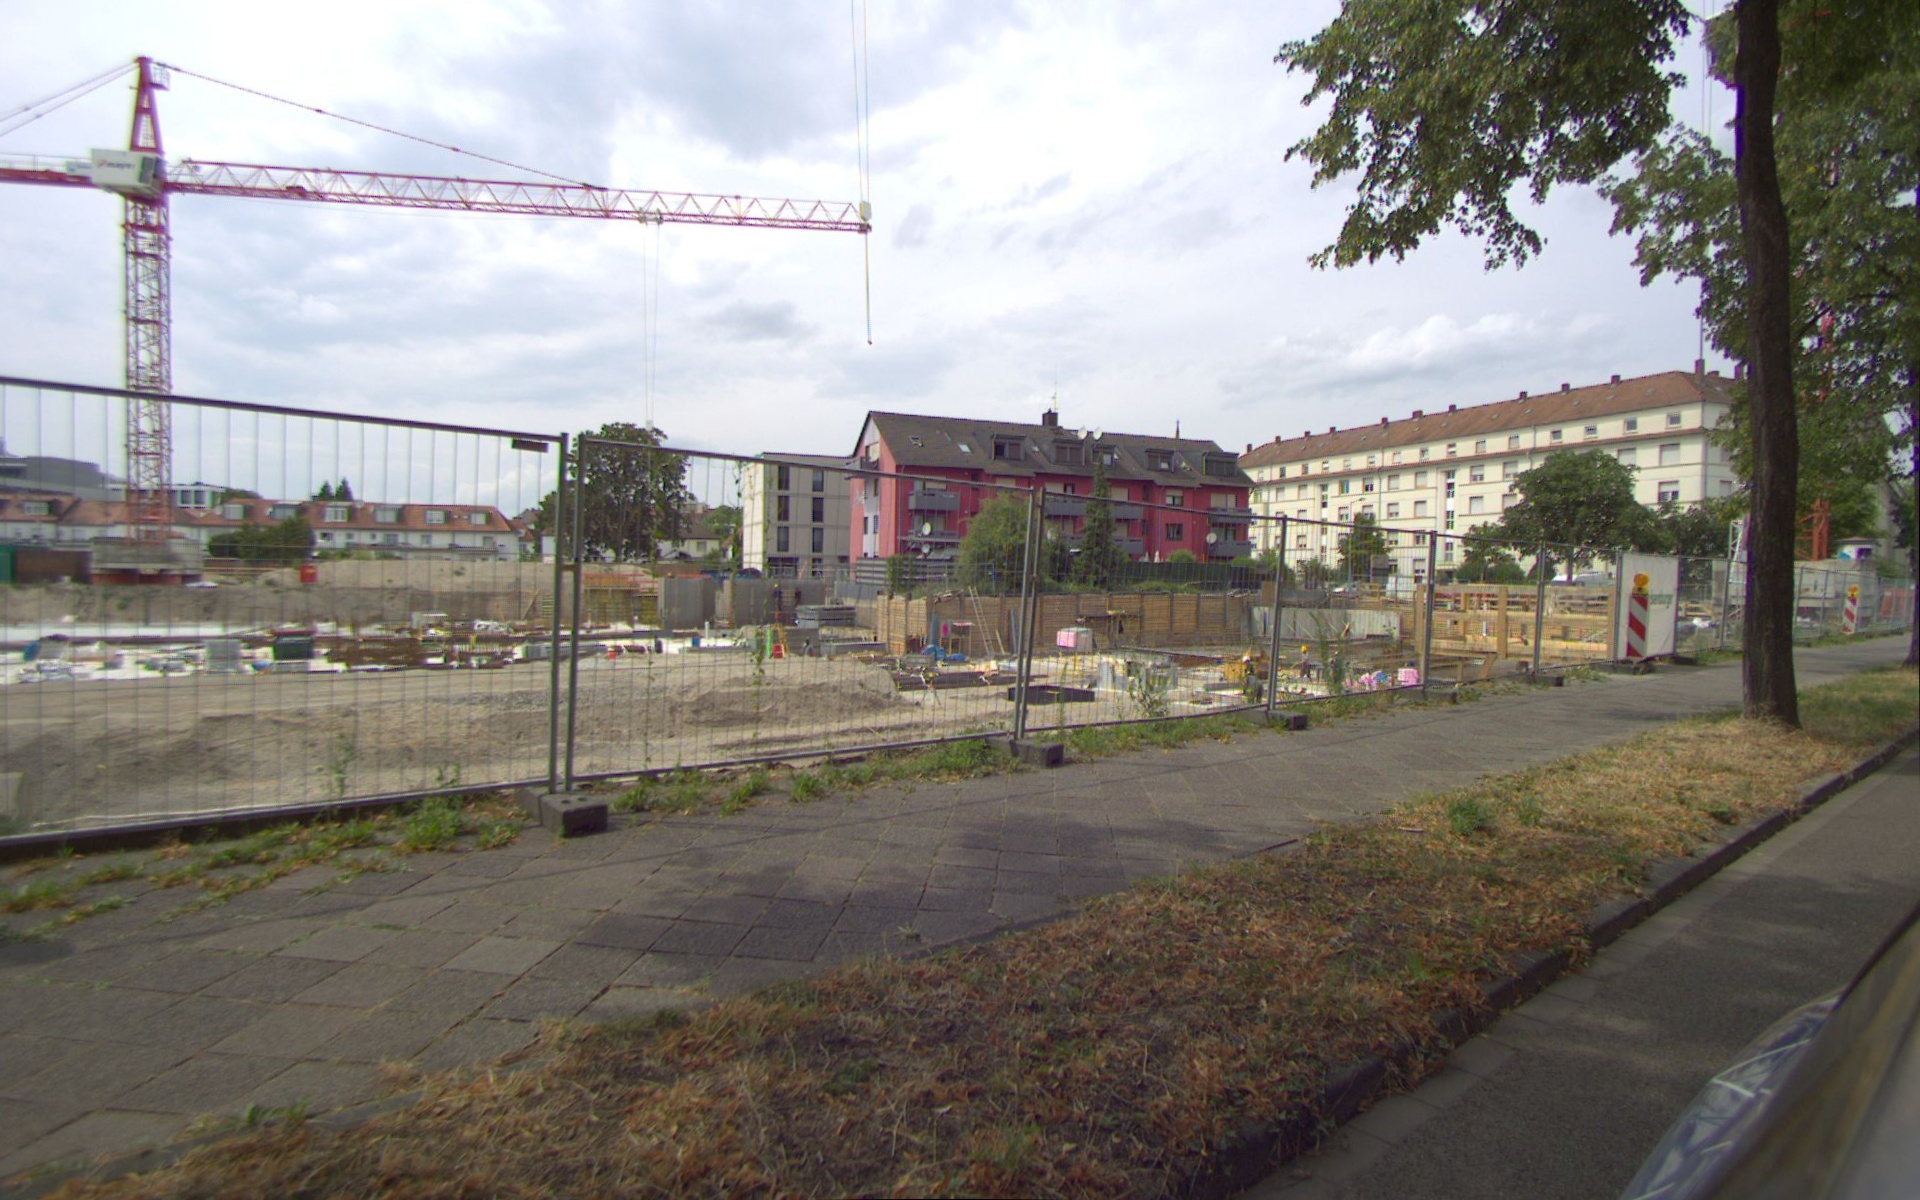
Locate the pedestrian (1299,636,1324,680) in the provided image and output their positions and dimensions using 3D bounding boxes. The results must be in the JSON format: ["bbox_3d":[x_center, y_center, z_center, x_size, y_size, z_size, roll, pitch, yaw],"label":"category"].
[{"bbox_3d":[14.857,2.459,42.828,0.707,1.743,0.845,2,2,2],"label":"pedestrian"}]

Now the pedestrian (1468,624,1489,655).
[{"bbox_3d":[30.494,2.295,59.562,0.706,1.743,0.846,1,2,-3],"label":"pedestrian"}]

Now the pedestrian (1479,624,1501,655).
[{"bbox_3d":[31.234,2.317,59.668,0.706,1.743,0.846,1,2,-3],"label":"pedestrian"}]

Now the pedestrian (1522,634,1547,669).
[{"bbox_3d":[30.198,2.706,53.221,0.706,1.743,0.846,1,2,-3],"label":"pedestrian"}]

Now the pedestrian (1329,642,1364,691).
[{"bbox_3d":[14.887,2.562,39.019,0.965,1.743,0.845,2,2,2],"label":"pedestrian"}]

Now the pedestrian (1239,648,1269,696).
[{"bbox_3d":[11.270,2.760,38.792,0.828,1.743,0.722,1,2,-6],"label":"pedestrian"}]

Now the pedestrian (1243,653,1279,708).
[{"bbox_3d":[10.266,2.736,34.533,0.705,1.743,0.847,1,3,-24],"label":"pedestrian"}]
